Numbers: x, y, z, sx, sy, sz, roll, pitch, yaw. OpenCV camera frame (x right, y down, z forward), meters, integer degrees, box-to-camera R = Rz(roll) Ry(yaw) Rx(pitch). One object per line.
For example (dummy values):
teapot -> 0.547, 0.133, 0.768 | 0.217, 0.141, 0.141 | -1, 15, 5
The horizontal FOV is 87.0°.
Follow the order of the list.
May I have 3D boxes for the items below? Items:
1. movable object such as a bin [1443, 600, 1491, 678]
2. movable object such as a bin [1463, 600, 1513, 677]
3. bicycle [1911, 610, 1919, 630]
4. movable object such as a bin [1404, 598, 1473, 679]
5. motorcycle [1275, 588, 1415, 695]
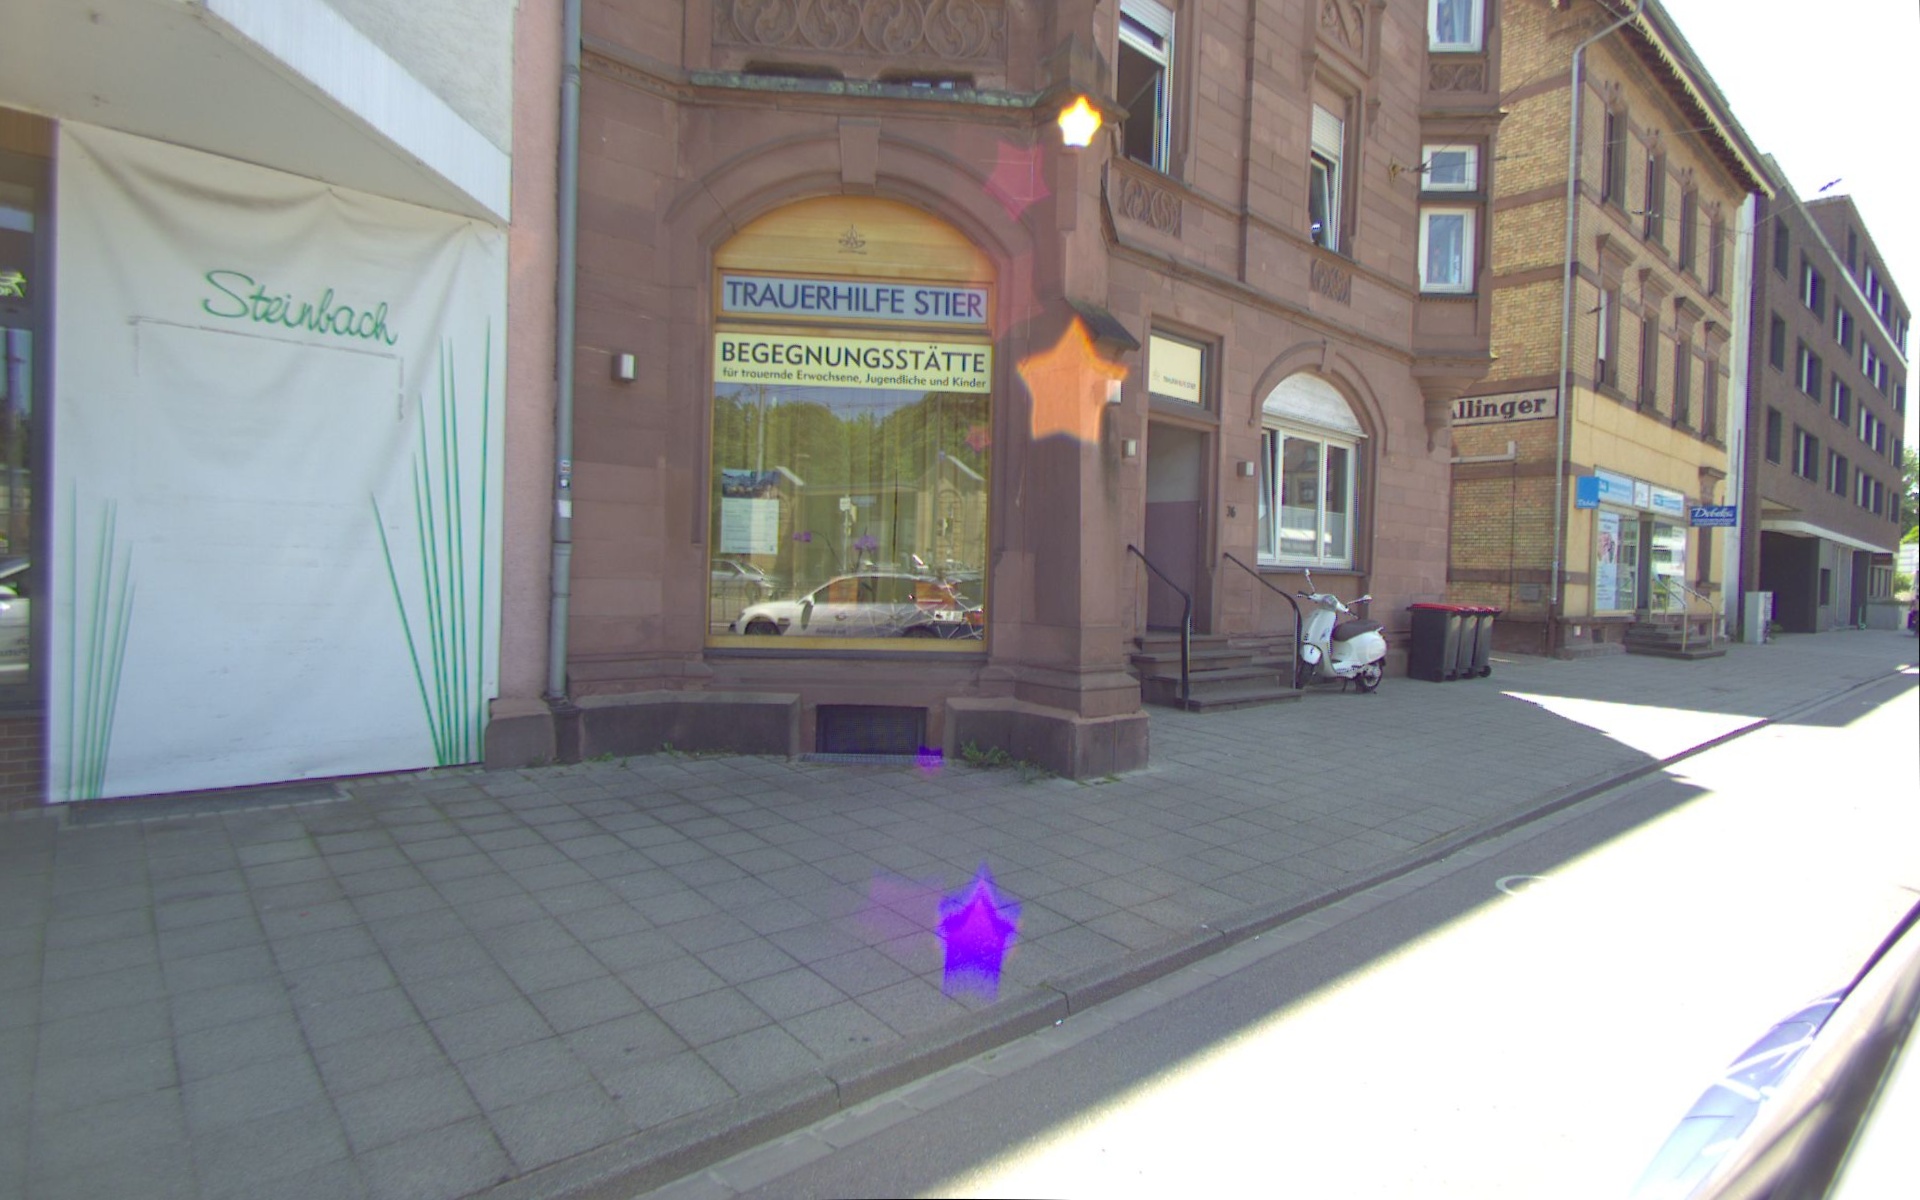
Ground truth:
movable object such as a bin -> 7.192, 0.546, 14.353 | 0.549, 1.061, 0.376 | 0, 4, -42
movable object such as a bin -> 7.665, 0.542, 14.695 | 0.646, 1.061, 0.376 | 0, 4, -42
bicycle -> 39.228, 0.821, 40.869 | 1.870, 0.807, 0.691 | 1, 1, -31
movable object such as a bin -> 6.666, 0.520, 14.096 | 0.549, 1.061, 0.649 | 0, 4, -42
motorcycle -> 4.530, 0.458, 11.854 | 1.843, 1.163, 0.529 | 1, 1, -33
